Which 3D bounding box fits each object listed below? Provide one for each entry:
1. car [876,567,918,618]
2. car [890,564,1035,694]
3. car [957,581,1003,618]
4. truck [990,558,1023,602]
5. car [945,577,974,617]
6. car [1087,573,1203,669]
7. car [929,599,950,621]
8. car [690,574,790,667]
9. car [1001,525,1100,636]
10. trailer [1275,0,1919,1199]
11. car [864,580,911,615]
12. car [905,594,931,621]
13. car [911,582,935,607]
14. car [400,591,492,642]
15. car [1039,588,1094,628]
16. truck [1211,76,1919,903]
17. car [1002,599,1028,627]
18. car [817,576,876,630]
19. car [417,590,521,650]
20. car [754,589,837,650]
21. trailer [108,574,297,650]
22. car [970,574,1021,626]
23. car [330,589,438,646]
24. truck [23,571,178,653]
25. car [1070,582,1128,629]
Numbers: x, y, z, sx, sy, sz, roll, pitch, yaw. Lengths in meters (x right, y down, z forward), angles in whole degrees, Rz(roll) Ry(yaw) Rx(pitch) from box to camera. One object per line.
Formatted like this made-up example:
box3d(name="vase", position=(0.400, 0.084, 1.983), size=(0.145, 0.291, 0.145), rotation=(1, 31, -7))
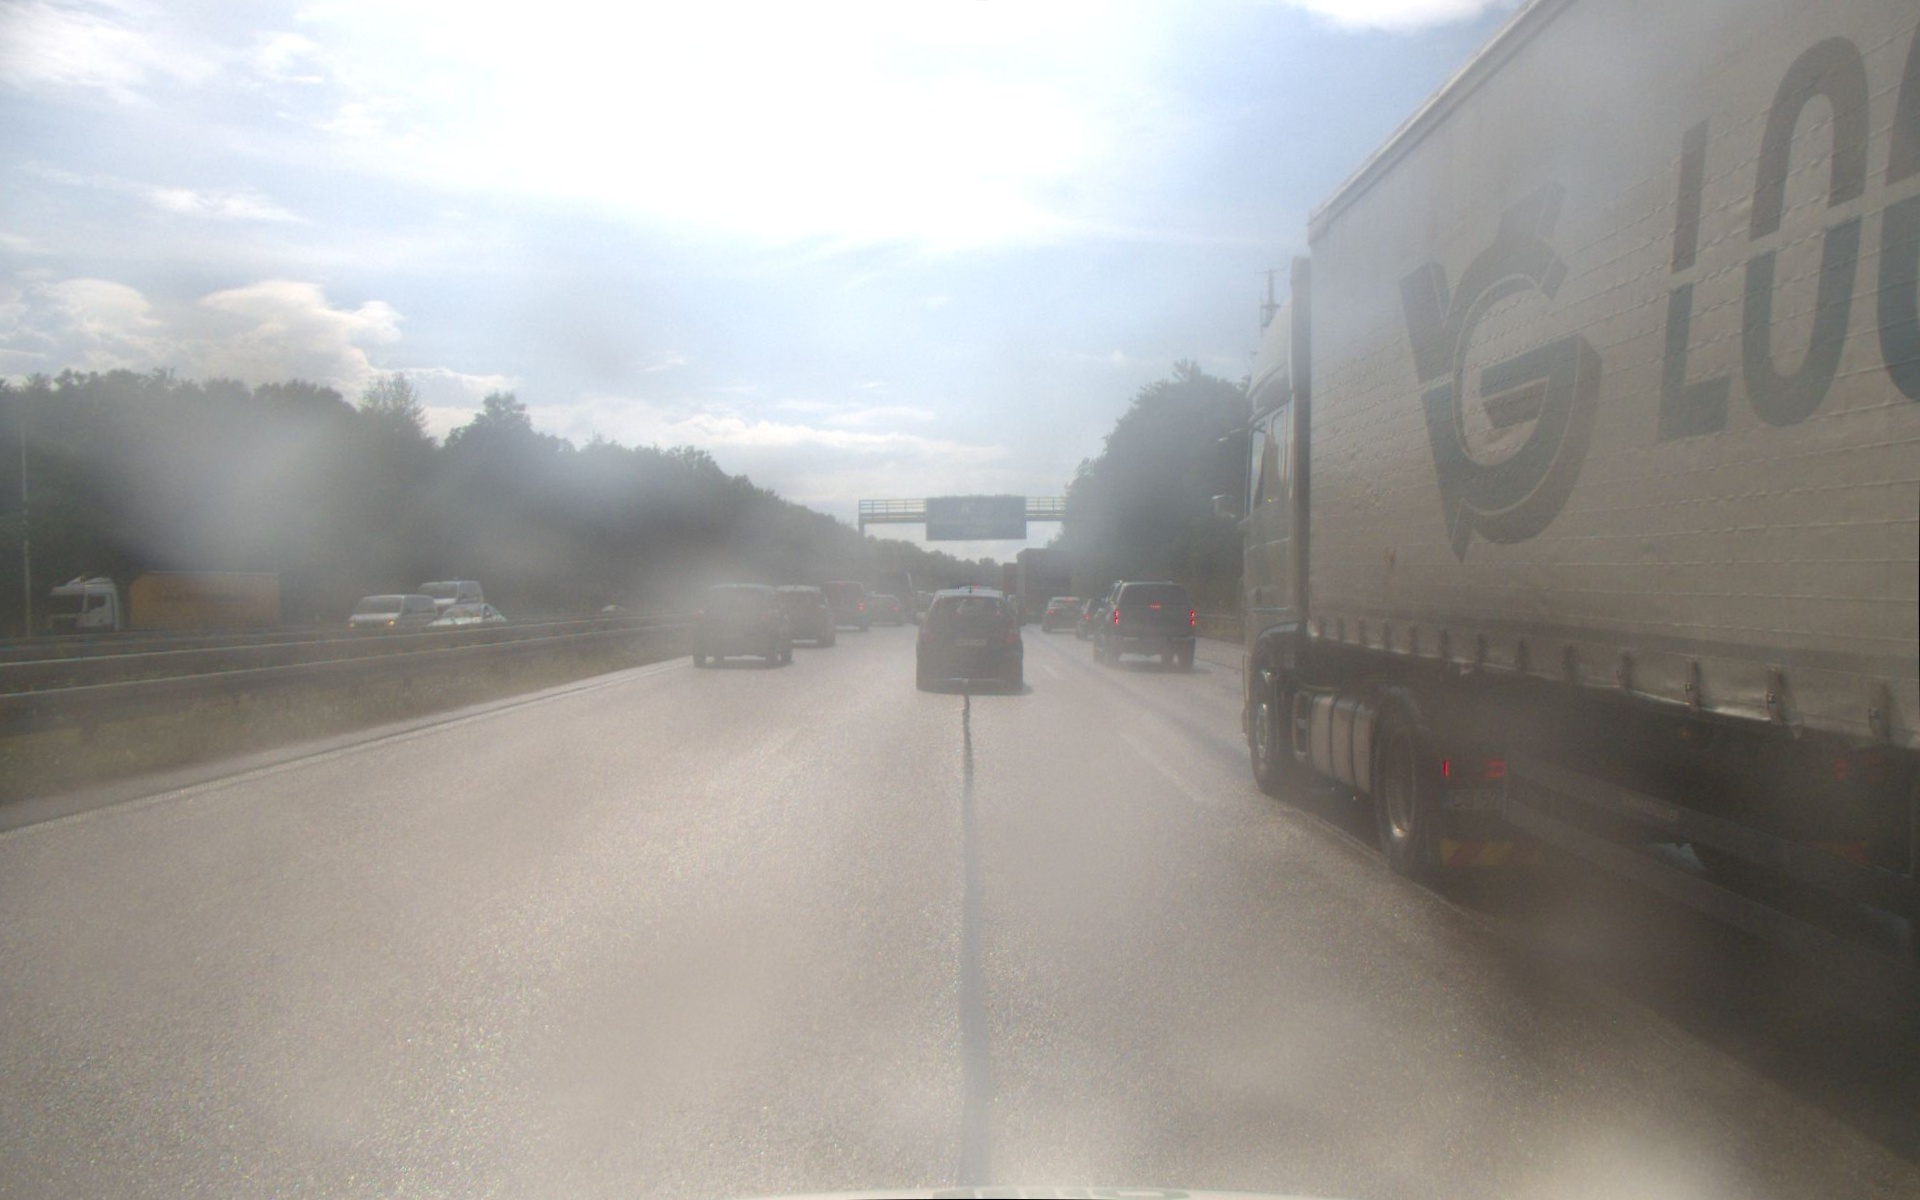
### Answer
box3d(name="car", position=(-3.400, -0.374, 89.699), size=(1.952, 2.661, 5.260), rotation=(1, 0, 1))
box3d(name="car", position=(-0.005, 0.460, 28.193), size=(2.228, 1.989, 4.820), rotation=(1, 0, -1))
box3d(name="car", position=(0.861, -0.014, 72.602), size=(1.827, 1.542, 3.974), rotation=(1, 0, -2))
box3d(name="truck", position=(4.053, -1.678, 144.033), size=(2.718, 3.695, 5.917), rotation=(1, 0, 1))
box3d(name="car", position=(-0.006, -0.205, 118.510), size=(1.952, 2.794, 5.260), rotation=(1, 0, 1))
box3d(name="car", position=(4.010, 0.443, 36.792), size=(1.902, 1.952, 5.651), rotation=(1, 0, 0))
box3d(name="car", position=(-2.082, 1.003, 170.069), size=(1.952, 2.152, 4.889), rotation=(1, 0, 1))
box3d(name="car", position=(-4.598, 0.424, 34.972), size=(1.658, 1.836, 3.974), rotation=(1, 0, -2))
box3d(name="car", position=(5.101, -1.015, 97.444), size=(4.315, 5.932, 16.811), rotation=(1, 0, -2))
box3d(name="trailer", position=(3.953, -0.492, 4.627), size=(3.217, 3.967, 14.126), rotation=(1, 0, -1))
box3d(name="car", position=(-3.395, -0.104, 78.615), size=(1.952, 1.592, 4.756), rotation=(1, 0, 1))
box3d(name="car", position=(-3.522, 0.625, 138.396), size=(1.952, 2.152, 4.889), rotation=(1, 0, 1))
box3d(name="car", position=(-3.223, -0.453, 145.790), size=(1.952, 2.152, 4.889), rotation=(1, 0, 1))
box3d(name="car", position=(-20.366, 0.651, 65.808), size=(2.004, 1.924, 5.259), rotation=(1, 0, 0))
box3d(name="car", position=(4.323, 0.319, 67.655), size=(1.827, 1.542, 3.974), rotation=(1, 0, -2))
box3d(name="truck", position=(3.865, -0.534, 11.221), size=(3.217, 3.959, 6.395), rotation=(1, 0, -1))
box3d(name="car", position=(4.325, 1.050, 130.817), size=(1.952, 2.152, 4.889), rotation=(1, 0, 1))
box3d(name="car", position=(-4.534, 0.134, 66.739), size=(1.938, 2.090, 4.756), rotation=(1, 0, 1))
box3d(name="car", position=(-16.640, 0.662, 56.335), size=(2.004, 1.924, 5.259), rotation=(1, 0, 0))
box3d(name="car", position=(-4.689, 0.541, 47.748), size=(1.869, 1.665, 4.617), rotation=(0, 0, 1))
box3d(name="trailer", position=(-44.515, 0.701, 97.871), size=(3.707, 4.189, 11.735), rotation=(1, 0, 13))
box3d(name="car", position=(1.255, 0.010, 60.594), size=(1.658, 1.836, 3.974), rotation=(1, 0, -2))
box3d(name="car", position=(-20.504, 0.620, 59.087), size=(2.004, 1.924, 5.259), rotation=(1, 0, 0))
box3d(name="truck", position=(-46.471, 0.639, 89.661), size=(3.707, 4.189, 7.051), rotation=(1, 0, 13))
box3d(name="car", position=(4.783, 0.195, 57.348), size=(1.558, 1.542, 3.974), rotation=(1, 0, -2))
